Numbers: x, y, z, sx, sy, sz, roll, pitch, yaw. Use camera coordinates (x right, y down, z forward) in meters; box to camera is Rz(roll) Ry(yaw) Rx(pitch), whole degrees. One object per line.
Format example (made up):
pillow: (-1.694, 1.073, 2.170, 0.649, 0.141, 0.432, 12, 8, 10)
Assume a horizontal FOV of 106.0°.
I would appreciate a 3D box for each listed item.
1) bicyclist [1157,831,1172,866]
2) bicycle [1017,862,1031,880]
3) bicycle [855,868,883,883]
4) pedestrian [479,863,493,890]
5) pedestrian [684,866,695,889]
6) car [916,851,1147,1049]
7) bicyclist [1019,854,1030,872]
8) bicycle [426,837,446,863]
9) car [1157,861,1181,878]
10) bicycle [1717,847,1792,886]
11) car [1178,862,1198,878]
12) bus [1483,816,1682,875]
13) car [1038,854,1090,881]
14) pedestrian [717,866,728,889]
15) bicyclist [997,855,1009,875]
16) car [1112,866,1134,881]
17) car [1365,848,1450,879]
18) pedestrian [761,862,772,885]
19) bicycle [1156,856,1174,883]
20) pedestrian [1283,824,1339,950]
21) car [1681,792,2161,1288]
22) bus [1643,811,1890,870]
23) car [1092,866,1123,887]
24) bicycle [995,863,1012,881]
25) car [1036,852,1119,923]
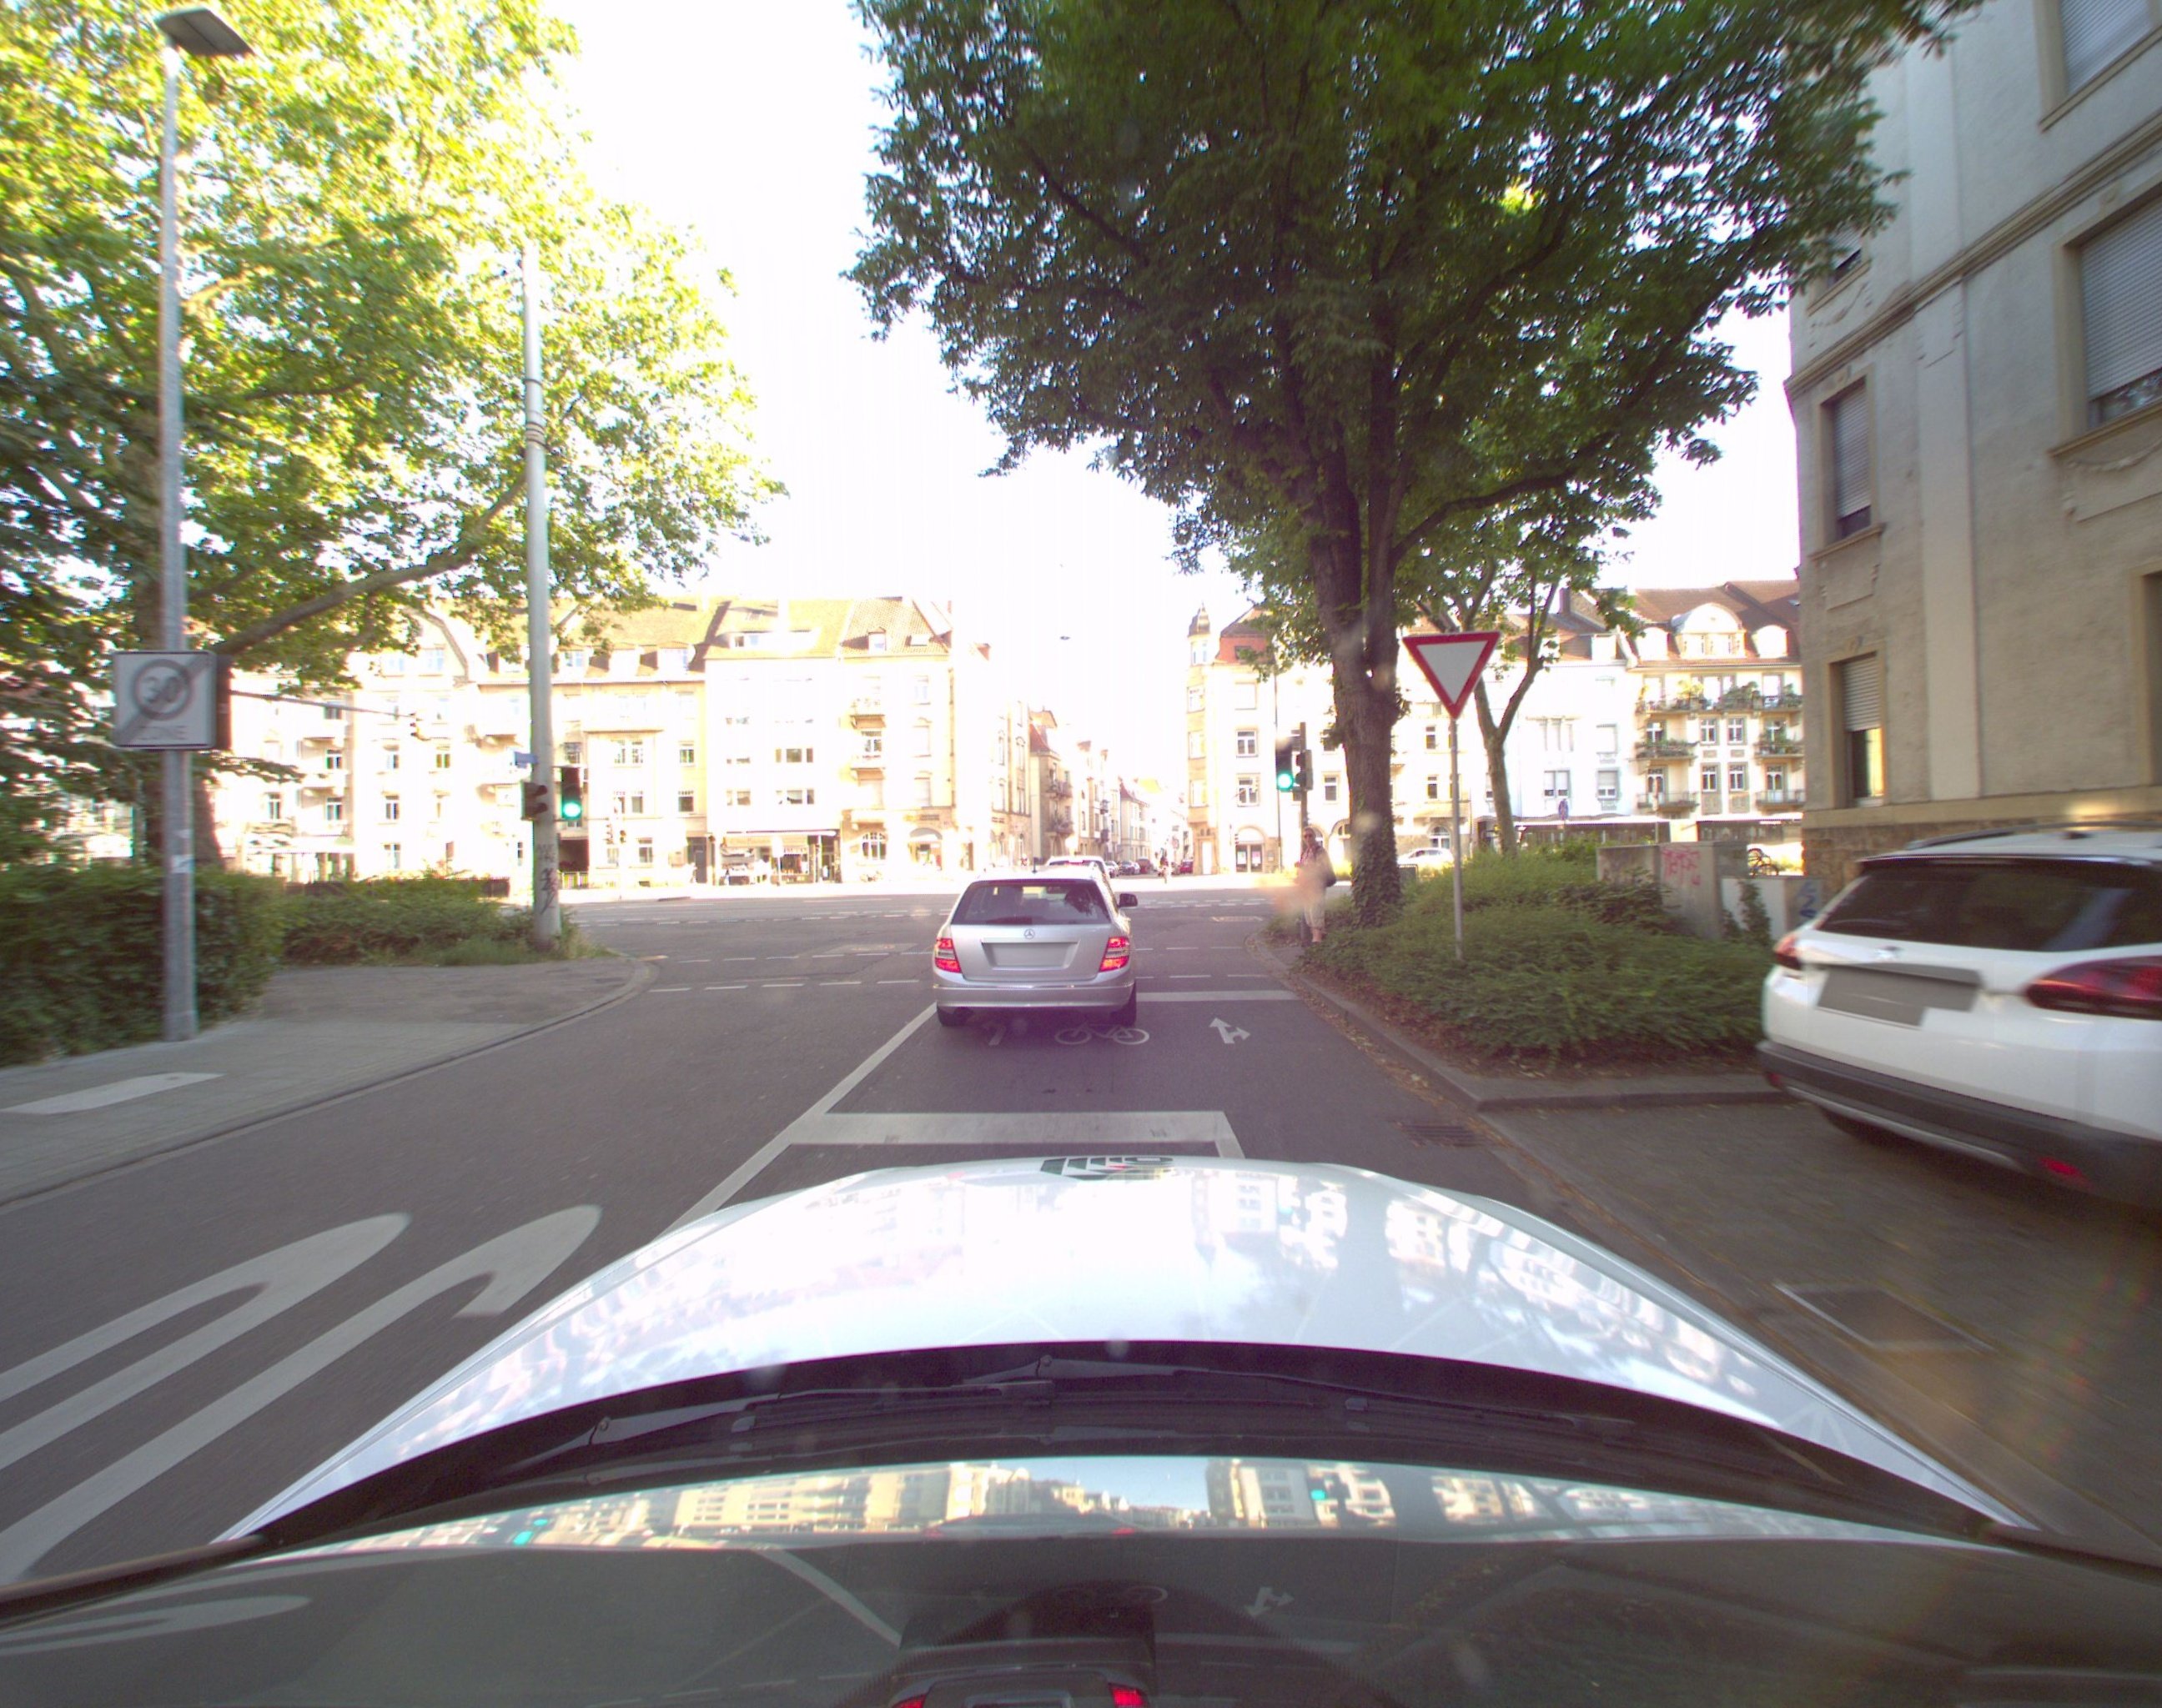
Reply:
bicyclist: (3.551, -0.221, 34.652, 0.607, 1.494, 0.768, 0, -1, 3)
bicycle: (-3.646, 1.076, 52.605, 0.648, 1.105, 1.926, 0, 1, 3)
bicycle: (-14.897, 1.520, 57.329, 1.802, 1.028, 0.492, -1, 0, -2)
pedestrian: (-41.022, 1.521, 56.153, 0.473, 1.837, 0.641, 0, -1, 2)
pedestrian: (-26.553, 1.603, 55.216, 0.561, 1.564, 0.466, 0, -1, -5)
car: (-0.308, 0.739, 8.184, 1.725, 1.477, 4.174, 0, -1, 2)
bicyclist: (-3.641, 0.608, 52.859, 0.607, 1.158, 0.768, 0, -1, 3)
bicycle: (-43.353, -0.244, 54.726, 0.882, 1.737, 0.561, 0, -1, 3)
car: (8.225, 1.429, 76.251, 1.818, 1.615, 4.013, 0, -1, 12)
bicycle: (19.490, 0.367, 23.572, 1.863, 1.068, 0.371, -1, -1, -2)
car: (12.099, 1.766, 92.106, 1.817, 1.706, 4.015, 0, -1, 14)
bus: (29.601, -0.462, 48.377, 9.834, 3.374, 3.275, 0, -1, 0)
car: (-1.209, 0.979, 59.440, 1.897, 1.899, 4.335, -1, -1, 28)
pedestrian: (-24.574, 1.602, 55.872, 0.561, 1.564, 0.466, 0, -1, -5)
bicyclist: (-4.908, 0.681, 51.439, 0.656, 1.236, 0.768, 0, -1, 3)
car: (4.788, 2.194, 93.111, 1.817, 1.615, 4.014, 0, -1, 13)
car: (18.135, 0.540, 45.340, 3.971, 1.684, 1.937, 0, -1, 2)
pedestrian: (-21.935, 1.342, 56.782, 0.561, 1.564, 0.466, 0, -1, -5)
bicycle: (3.558, 0.639, 34.638, 0.617, 1.105, 2.555, 0, -1, 3)
pedestrian: (3.395, 0.474, 12.049, 0.696, 1.806, 0.667, 0, -1, 7)
car: (5.184, 0.535, 3.458, 4.022, 1.575, 1.684, -2, 0, 0)
bus: (40.469, -0.766, 48.394, 11.897, 3.374, 3.265, 0, -1, 0)
car: (2.389, 1.960, 71.846, 1.816, 1.706, 4.016, 0, -1, 15)
bicycle: (-4.896, 1.129, 51.497, 0.648, 1.105, 2.555, 0, -1, 3)
car: (-0.010, 0.724, 18.988, 1.725, 1.480, 3.816, 0, -1, 2)
